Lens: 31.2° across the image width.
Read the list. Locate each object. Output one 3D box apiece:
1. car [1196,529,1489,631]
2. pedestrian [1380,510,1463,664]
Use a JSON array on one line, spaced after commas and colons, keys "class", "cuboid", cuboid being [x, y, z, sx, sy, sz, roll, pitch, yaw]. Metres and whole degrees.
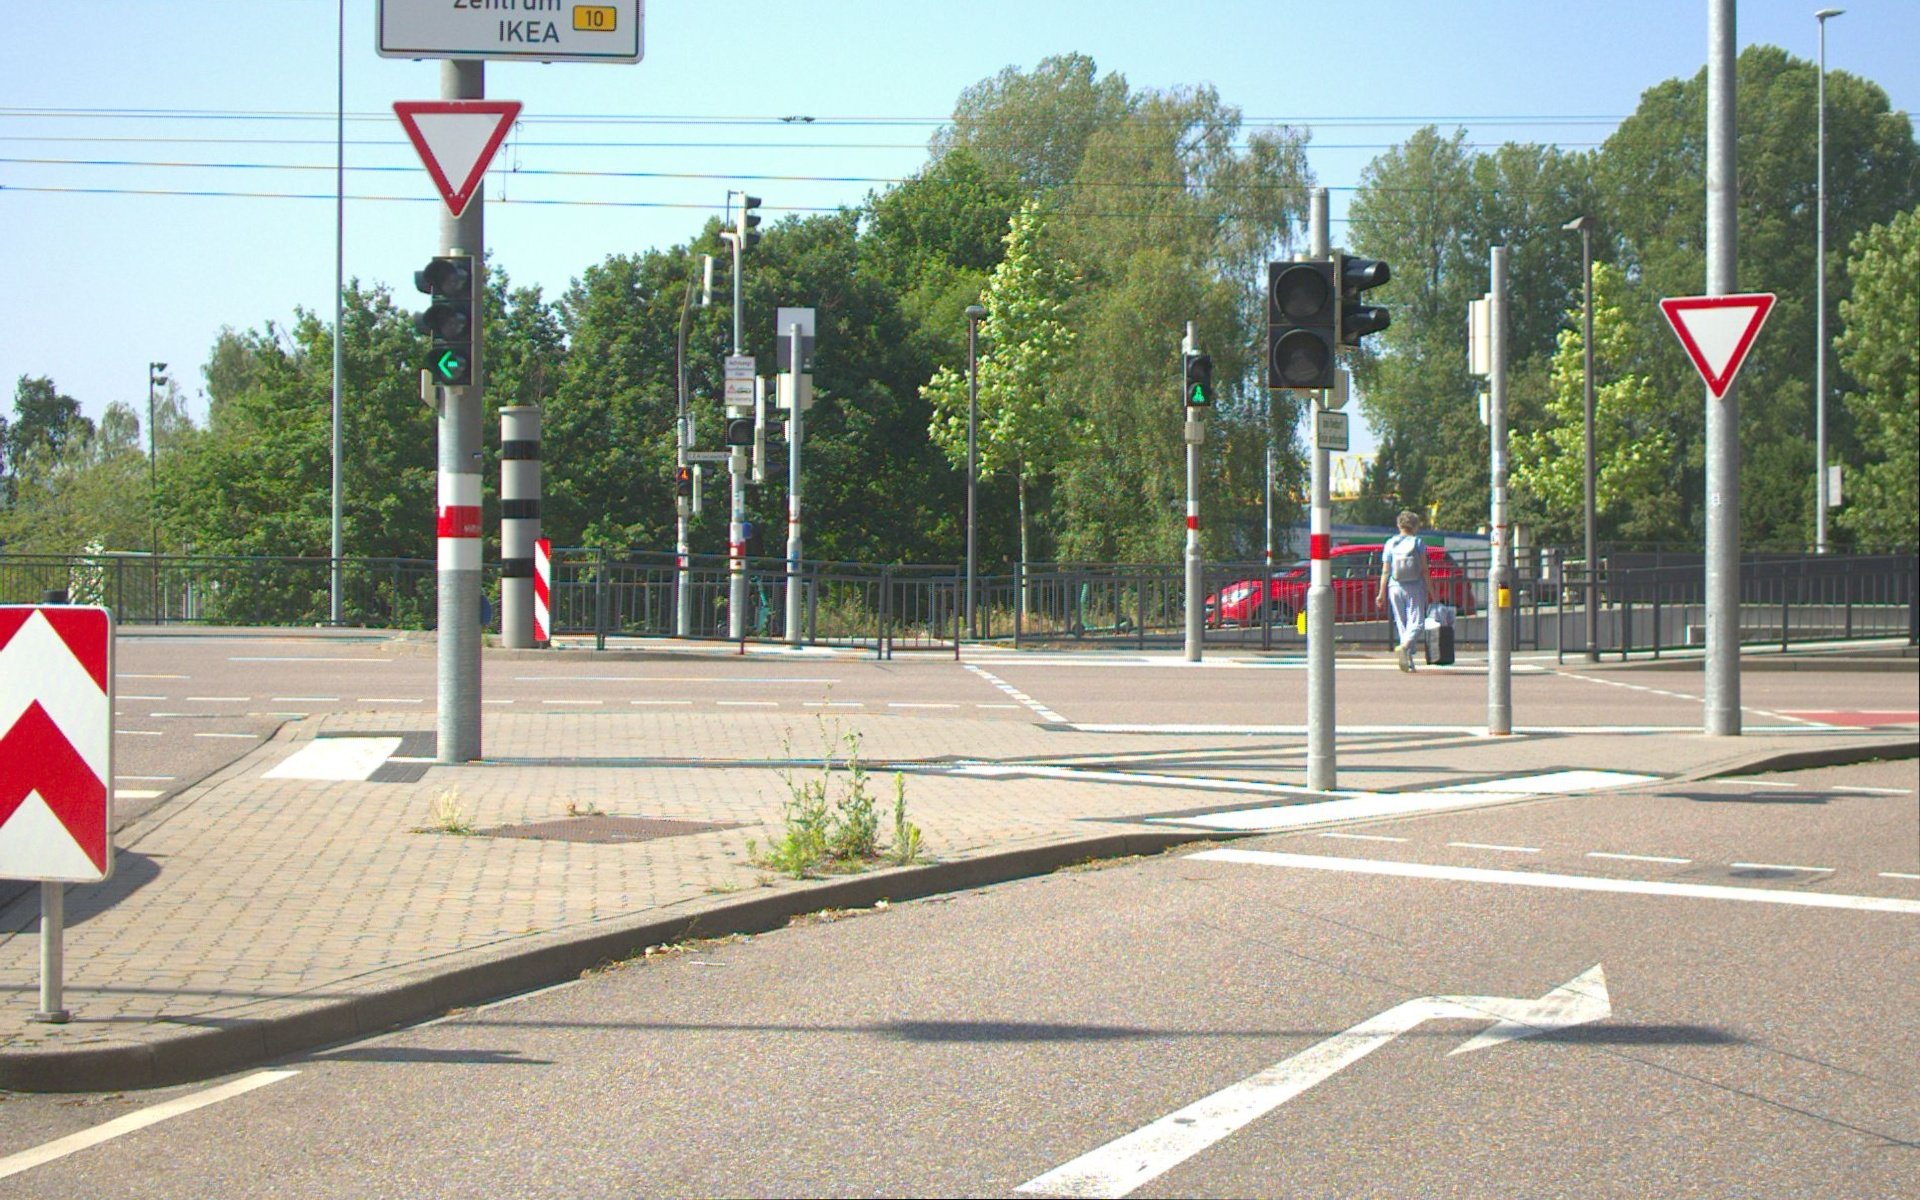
[{"class": "car", "cuboid": [5.618, -0.302, 50.736, 3.986, 1.440, 1.747, 0, 1, -8]}, {"class": "pedestrian", "cuboid": [4.601, -0.140, 34.318, 0.773, 1.505, 1.007, 0, 2, 5]}]
